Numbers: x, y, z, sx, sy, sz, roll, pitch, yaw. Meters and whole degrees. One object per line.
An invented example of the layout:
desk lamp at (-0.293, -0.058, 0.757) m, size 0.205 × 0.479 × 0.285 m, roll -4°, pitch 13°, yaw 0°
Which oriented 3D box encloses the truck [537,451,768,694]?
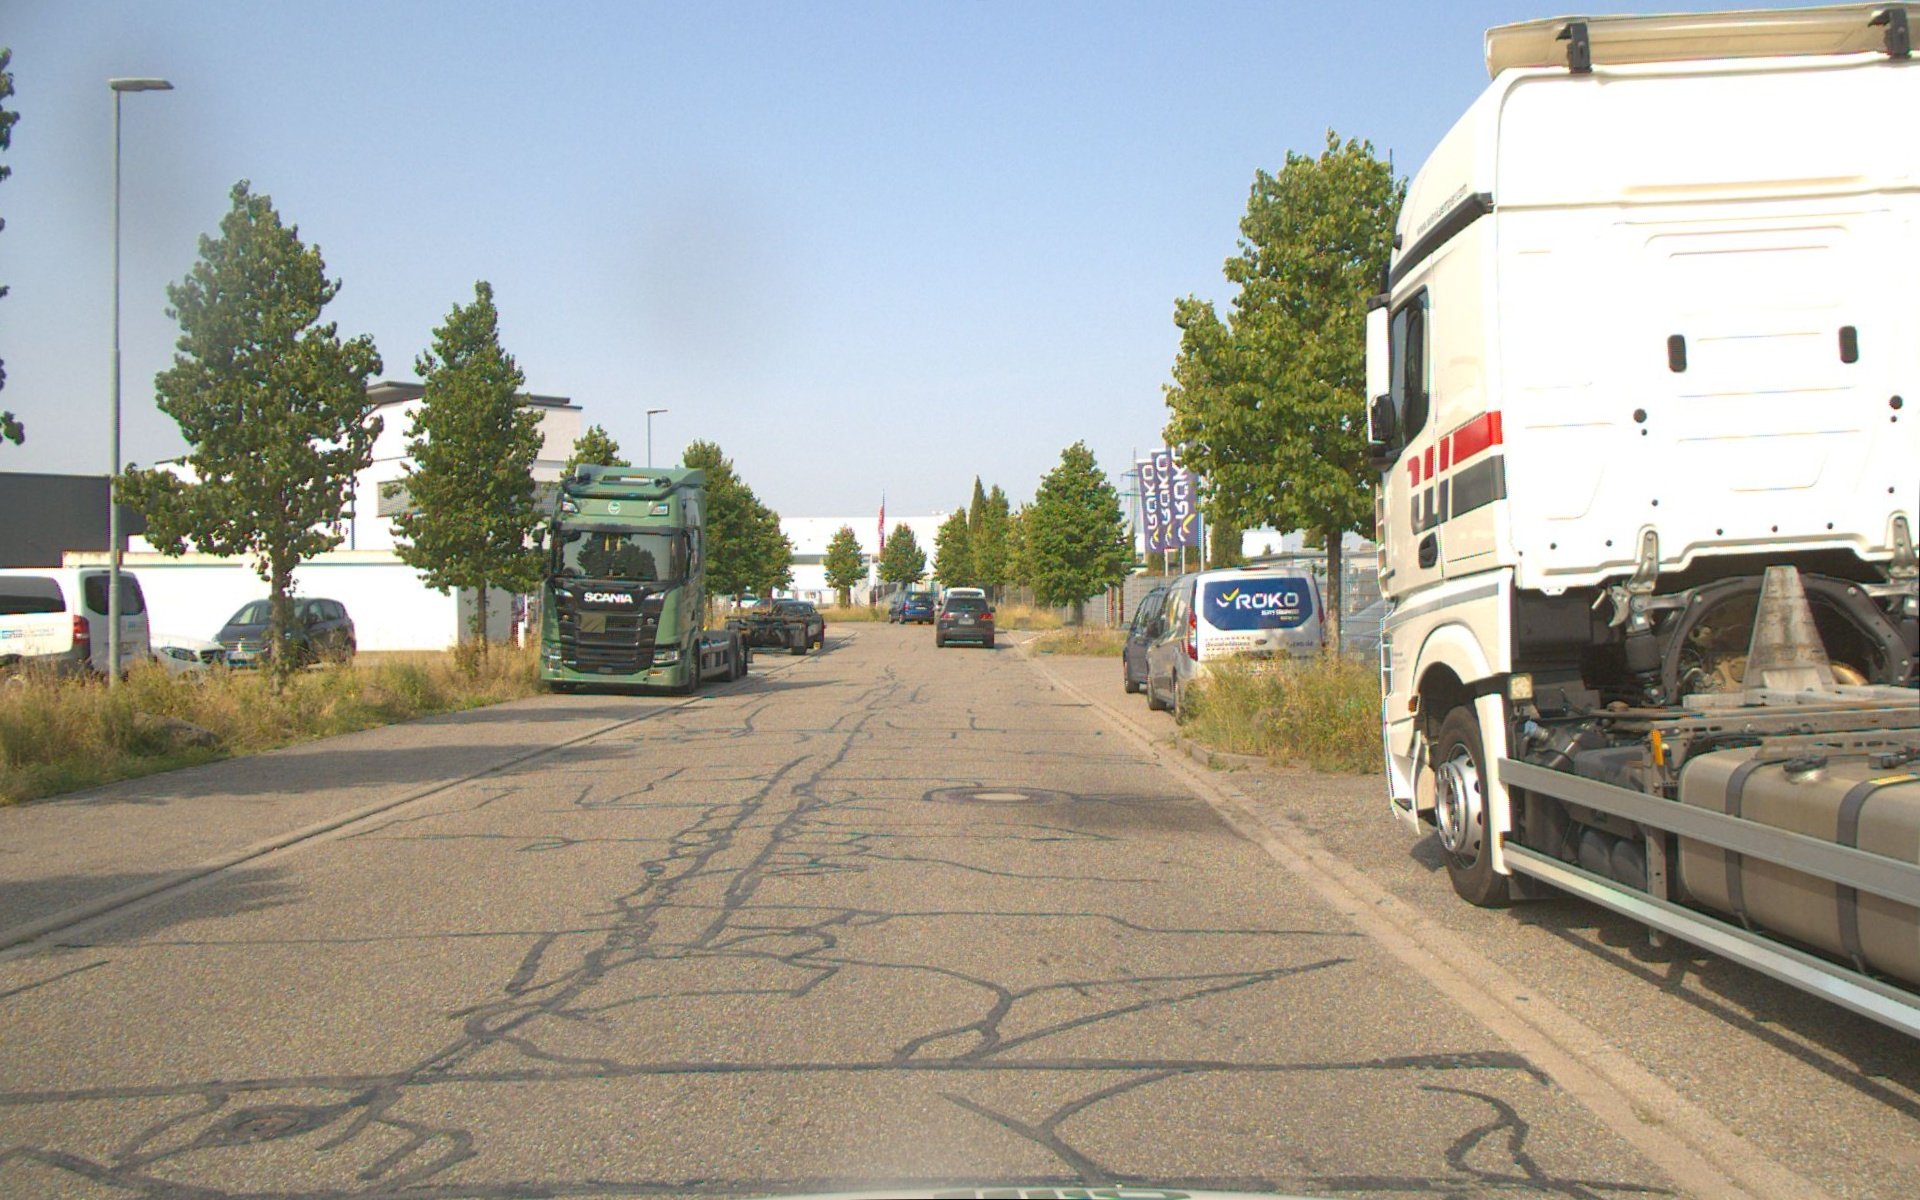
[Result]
truck at (-5.628, -0.421, 32.131) m, size 2.404 × 3.949 × 9.803 m, roll 1°, pitch 0°, yaw 1°

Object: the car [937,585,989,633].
car at (0.088, 0.343, 69.642) m, size 1.954 × 1.932 × 4.465 m, roll -1°, pitch 0°, yaw -3°

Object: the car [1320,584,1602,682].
car at (8.334, 0.529, 27.733) m, size 4.141 × 1.521 × 1.898 m, roll -1°, pitch 1°, yaw -4°

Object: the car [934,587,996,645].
car at (0.174, 0.493, 55.233) m, size 1.953 × 1.836 × 4.000 m, roll 1°, pitch 0°, yaw 0°

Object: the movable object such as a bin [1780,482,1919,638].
movable object such as a bin at (26.070, -1.099, 45.873) m, size 2.859 × 3.998 × 7.205 m, roll -1°, pitch 1°, yaw -2°

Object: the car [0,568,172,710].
car at (-13.698, 0.518, 22.834) m, size 4.608 × 1.868 × 2.103 m, roll 0°, pitch 0°, yaw 0°

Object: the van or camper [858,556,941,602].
van or camper at (-4.034, -1.328, 108.518) m, size 2.325 × 2.898 × 7.264 m, roll 0°, pitch 0°, yaw -31°

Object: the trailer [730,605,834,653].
trailer at (-5.468, 0.859, 51.914) m, size 2.085 × 1.254 × 7.160 m, roll 1°, pitch 1°, yaw 3°

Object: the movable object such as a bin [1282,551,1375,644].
movable object such as a bin at (11.715, -0.080, 52.896) m, size 1.848 × 2.800 × 5.160 m, roll -1°, pitch 0°, yaw 0°

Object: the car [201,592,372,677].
car at (-14.885, 0.707, 36.856) m, size 1.953 × 1.716 × 4.697 m, roll -1°, pitch 0°, yaw -2°

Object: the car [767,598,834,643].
car at (-5.716, 0.699, 59.822) m, size 1.952 × 1.492 × 4.432 m, roll 1°, pitch 1°, yaw 0°

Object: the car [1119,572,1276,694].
car at (3.655, 0.499, 26.121) m, size 1.789 × 1.750 × 4.247 m, roll 0°, pitch -1°, yaw -1°

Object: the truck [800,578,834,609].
truck at (-13.645, -0.611, 158.233) m, size 2.400 × 2.876 × 8.002 m, roll 0°, pitch 0°, yaw 1°

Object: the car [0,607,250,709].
car at (-13.595, 0.865, 25.266) m, size 4.628 × 1.456 × 2.001 m, roll 0°, pitch 0°, yaw 3°

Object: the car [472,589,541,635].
car at (-16.969, 0.422, 62.029) m, size 1.736 × 1.551 × 4.300 m, roll -1°, pitch 1°, yaw -5°

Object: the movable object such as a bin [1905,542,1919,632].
movable object such as a bin at (31.055, -0.412, 49.620) m, size 2.012 × 2.817 × 5.689 m, roll -1°, pitch 1°, yaw -2°

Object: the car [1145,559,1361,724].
car at (3.509, 0.480, 20.659) m, size 1.952 × 1.821 × 4.600 m, roll 0°, pitch -1°, yaw 1°

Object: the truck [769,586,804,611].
truck at (-16.568, -0.156, 158.263) m, size 2.400 × 2.305 × 8.002 m, roll 0°, pitch 0°, yaw 1°

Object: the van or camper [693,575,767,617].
van or camper at (-16.854, -0.311, 120.745) m, size 2.314 × 2.995 × 6.877 m, roll 0°, pitch 0°, yaw -37°

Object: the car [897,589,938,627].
car at (-2.155, 0.374, 84.368) m, size 1.953 × 1.836 × 4.000 m, roll 1°, pitch 0°, yaw 0°

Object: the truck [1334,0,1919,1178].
truck at (3.629, -0.675, 4.670) m, size 2.690 × 4.085 × 9.685 m, roll -3°, pitch 0°, yaw -1°
